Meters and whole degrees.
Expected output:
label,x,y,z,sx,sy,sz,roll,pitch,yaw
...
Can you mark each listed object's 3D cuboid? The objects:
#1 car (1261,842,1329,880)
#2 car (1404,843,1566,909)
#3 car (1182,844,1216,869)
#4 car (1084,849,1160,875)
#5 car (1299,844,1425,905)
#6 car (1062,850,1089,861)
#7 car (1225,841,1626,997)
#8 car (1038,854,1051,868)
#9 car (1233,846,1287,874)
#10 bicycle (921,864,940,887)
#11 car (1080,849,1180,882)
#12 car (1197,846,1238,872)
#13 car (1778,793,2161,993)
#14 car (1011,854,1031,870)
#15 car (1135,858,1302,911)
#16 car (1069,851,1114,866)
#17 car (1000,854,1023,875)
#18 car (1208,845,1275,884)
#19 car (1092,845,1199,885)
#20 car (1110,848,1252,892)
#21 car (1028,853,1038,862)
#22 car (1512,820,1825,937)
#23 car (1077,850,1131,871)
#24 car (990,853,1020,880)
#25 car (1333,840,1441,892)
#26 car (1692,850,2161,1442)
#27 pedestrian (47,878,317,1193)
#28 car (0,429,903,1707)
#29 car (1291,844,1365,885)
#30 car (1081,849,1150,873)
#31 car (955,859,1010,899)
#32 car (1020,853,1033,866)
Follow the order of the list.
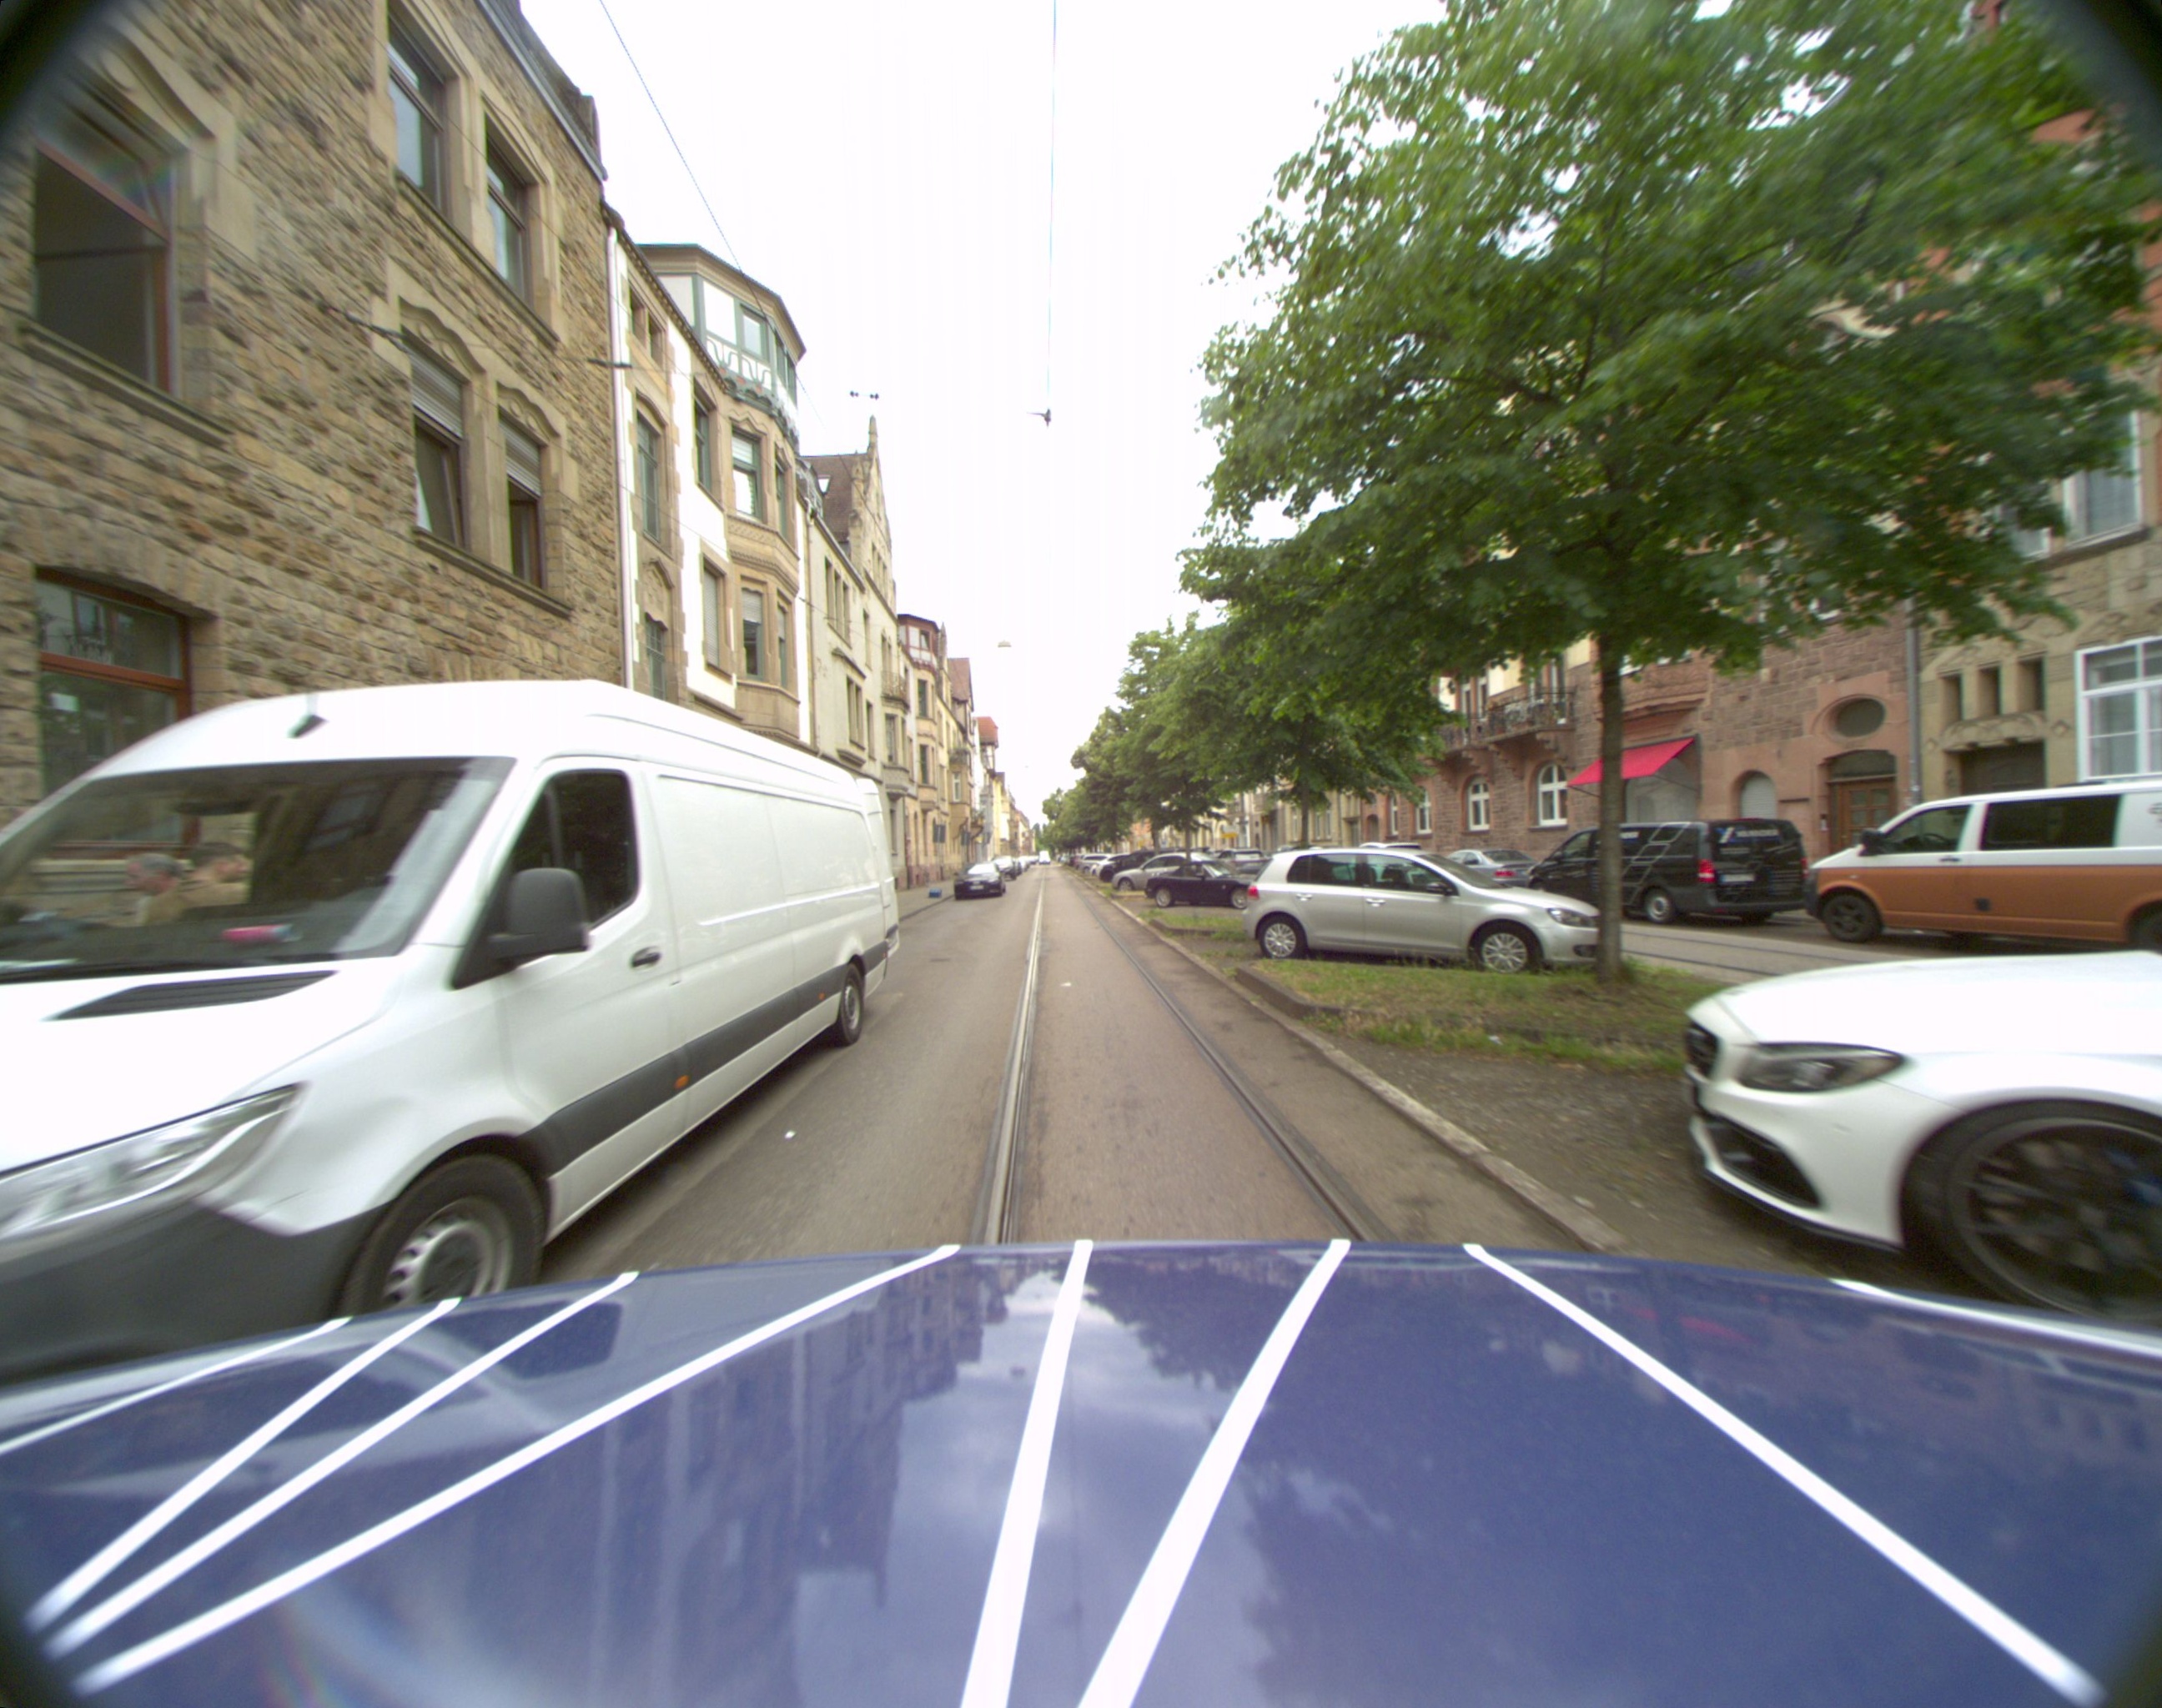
label,x,y,z,sx,sy,sz,roll,pitch,yaw
car,10.129,0.303,36.328,1.773,1.619,4.318,-2,1,-3
car,10.724,0.507,20.593,1.745,1.533,4.552,-2,1,-3
car,9.350,0.222,60.456,1.856,1.860,4.430,-2,0,-2
car,2.370,0.475,44.467,4.119,1.304,1.867,-3,1,41
car,7.865,0.490,21.776,1.648,1.495,4.620,-2,1,-3
car,-0.949,0.266,128.986,3.990,1.602,1.902,-2,-1,28
car,4.061,0.674,9.285,4.106,1.475,1.800,-2,1,38
car,-5.970,1.122,123.435,1.999,2.002,3.998,-2,1,-3
car,9.991,0.313,42.834,1.810,1.430,4.228,-2,1,-3
bicycle,-7.910,1.113,40.097,0.613,1.120,1.915,-5,1,-3
car,2.363,0.575,37.355,4.529,1.482,2.040,-2,1,42
car,9.431,0.327,52.641,1.810,1.670,4.271,-2,1,-3
car,11.349,0.327,8.688,1.886,1.941,5.092,-2,1,-3
car,-6.583,0.885,83.702,1.793,1.504,4.212,-5,0,-2
car,3.496,0.771,19.728,3.952,1.195,1.671,-2,1,41
car,1.104,0.495,79.787,4.595,1.458,1.889,-2,0,43
car,-5.715,0.849,62.703,1.702,1.504,4.418,-5,0,-4
car,7.176,0.433,34.384,1.810,1.570,4.545,-2,1,-3
car,2.815,0.506,33.849,4.520,1.624,1.769,-2,1,42
car,3.429,0.578,26.537,4.655,1.360,1.761,-2,1,40
car,-8.865,0.688,140.591,1.676,1.520,4.211,-3,1,-3
car,10.758,0.363,14.573,1.819,1.771,5.115,-2,1,-3
car,1.835,0.557,61.959,4.195,1.600,1.728,-1,2,39
car,-5.056,0.799,50.866,1.764,1.613,4.692,-3,0,-4
car,10.736,0.357,27.041,1.745,1.617,4.552,-2,1,-3
car,4.460,0.696,1.749,4.675,1.426,1.902,-2,0,37
pedestrian,-5.267,1.002,4.508,0.866,1.690,0.537,0,1,-16
car,-2.917,0.566,4.614,2.018,2.534,7.015,-4,0,-1
car,10.247,0.410,31.794,1.666,1.551,3.721,-2,1,-3
car,2.300,0.497,51.536,4.552,1.484,1.867,-2,1,43
car,-4.010,0.989,31.736,1.806,1.430,5.194,-3,0,-3
car,-7.582,0.729,105.157,1.635,1.520,4.211,-3,1,-3
